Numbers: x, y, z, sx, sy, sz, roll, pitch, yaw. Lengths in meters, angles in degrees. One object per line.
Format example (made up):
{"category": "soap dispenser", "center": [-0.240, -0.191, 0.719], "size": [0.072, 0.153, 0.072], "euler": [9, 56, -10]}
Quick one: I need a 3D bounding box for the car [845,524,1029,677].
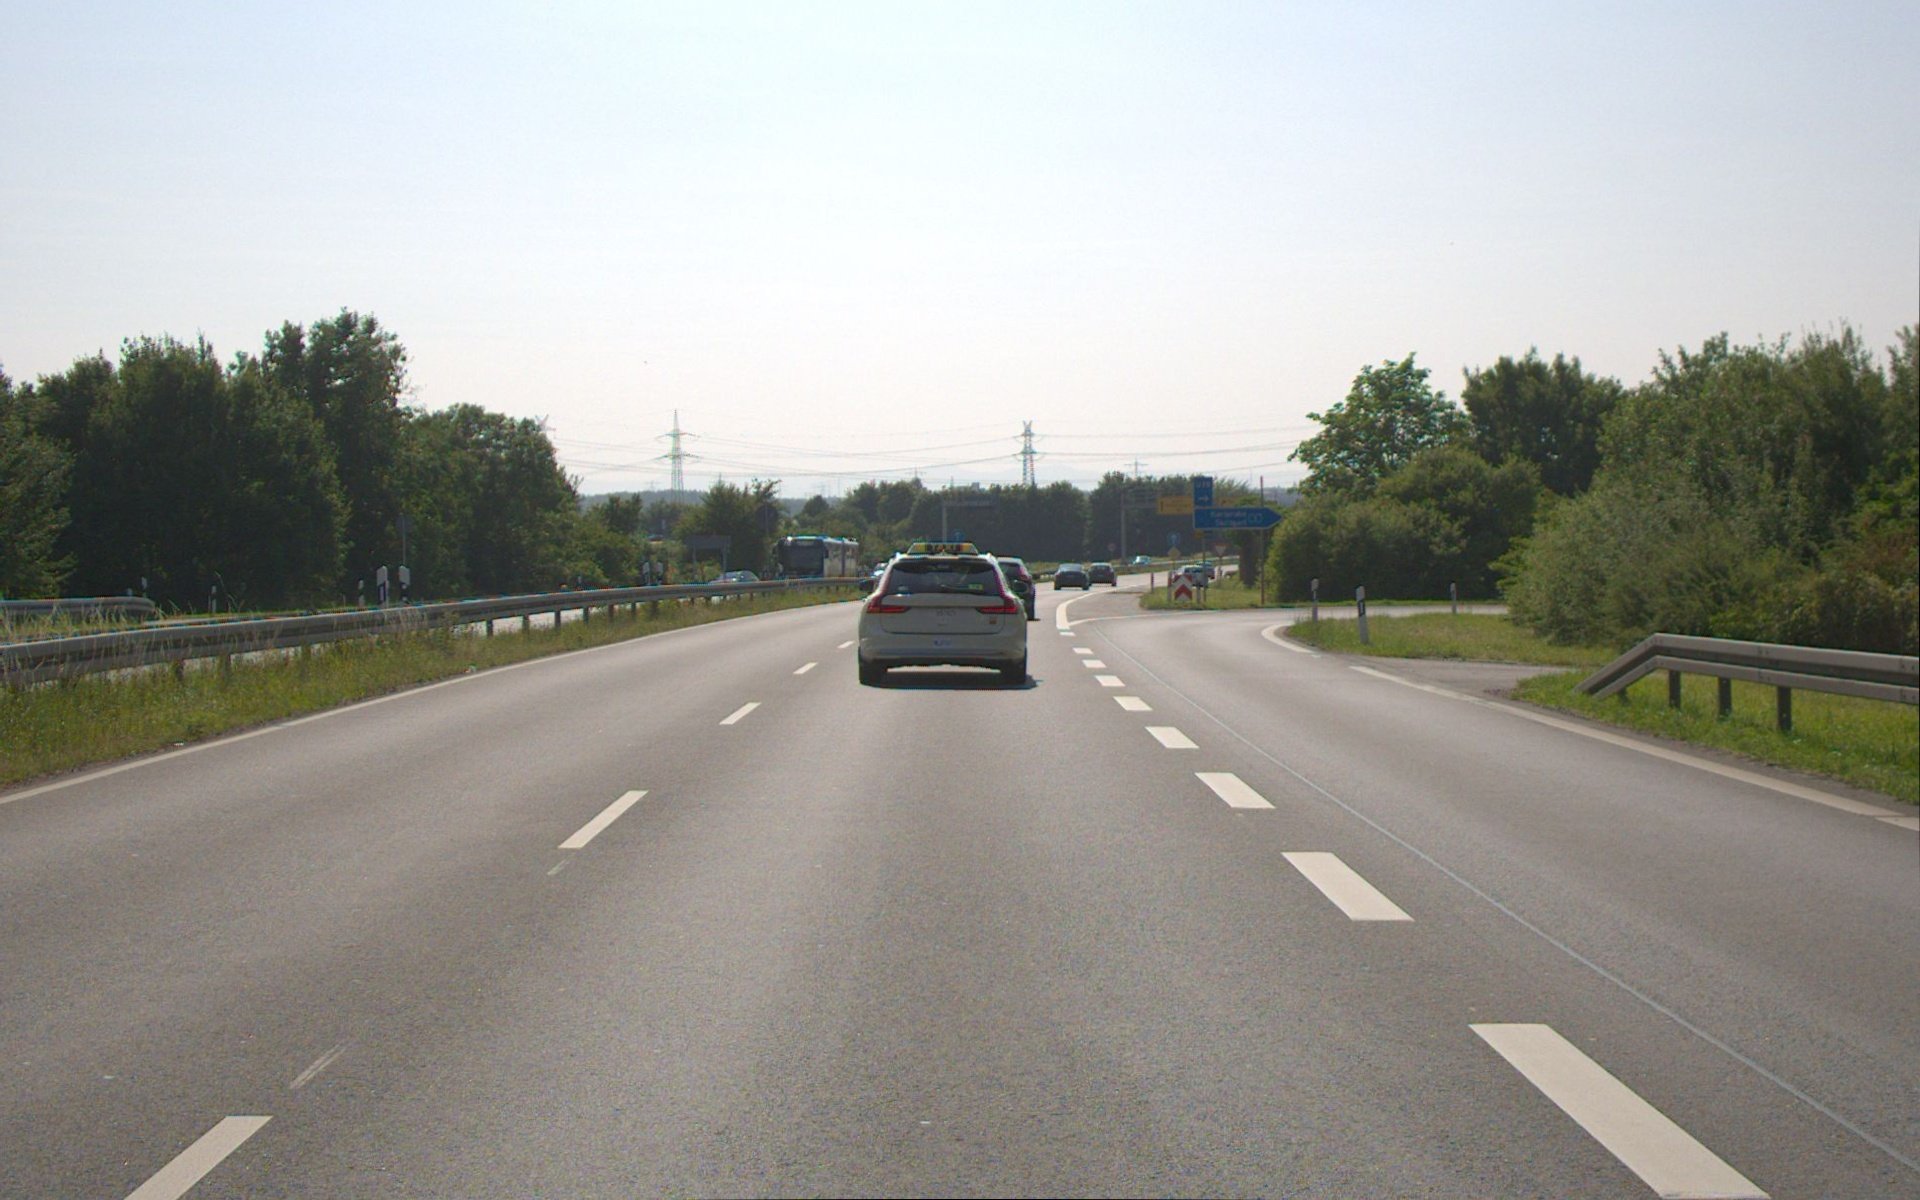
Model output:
{"category": "car", "center": [-0.290, -0.037, 39.207], "size": [1.958, 1.596, 4.107], "euler": [1, 2, -1]}

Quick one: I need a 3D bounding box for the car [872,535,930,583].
{"category": "car", "center": [-1.870, -1.304, 109.060], "size": [1.793, 1.498, 4.043], "euler": [0, 1, -1]}

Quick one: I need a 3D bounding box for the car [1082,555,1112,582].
{"category": "car", "center": [8.721, -2.035, 219.103], "size": [1.841, 1.692, 4.000], "euler": [0, 1, 1]}

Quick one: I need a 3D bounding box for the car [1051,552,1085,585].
{"category": "car", "center": [6.042, -1.776, 192.221], "size": [1.841, 1.796, 4.000], "euler": [0, 1, 3]}

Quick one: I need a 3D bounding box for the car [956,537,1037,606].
{"category": "car", "center": [0.820, -0.663, 78.770], "size": [1.793, 1.538, 3.672], "euler": [0, 1, 0]}
